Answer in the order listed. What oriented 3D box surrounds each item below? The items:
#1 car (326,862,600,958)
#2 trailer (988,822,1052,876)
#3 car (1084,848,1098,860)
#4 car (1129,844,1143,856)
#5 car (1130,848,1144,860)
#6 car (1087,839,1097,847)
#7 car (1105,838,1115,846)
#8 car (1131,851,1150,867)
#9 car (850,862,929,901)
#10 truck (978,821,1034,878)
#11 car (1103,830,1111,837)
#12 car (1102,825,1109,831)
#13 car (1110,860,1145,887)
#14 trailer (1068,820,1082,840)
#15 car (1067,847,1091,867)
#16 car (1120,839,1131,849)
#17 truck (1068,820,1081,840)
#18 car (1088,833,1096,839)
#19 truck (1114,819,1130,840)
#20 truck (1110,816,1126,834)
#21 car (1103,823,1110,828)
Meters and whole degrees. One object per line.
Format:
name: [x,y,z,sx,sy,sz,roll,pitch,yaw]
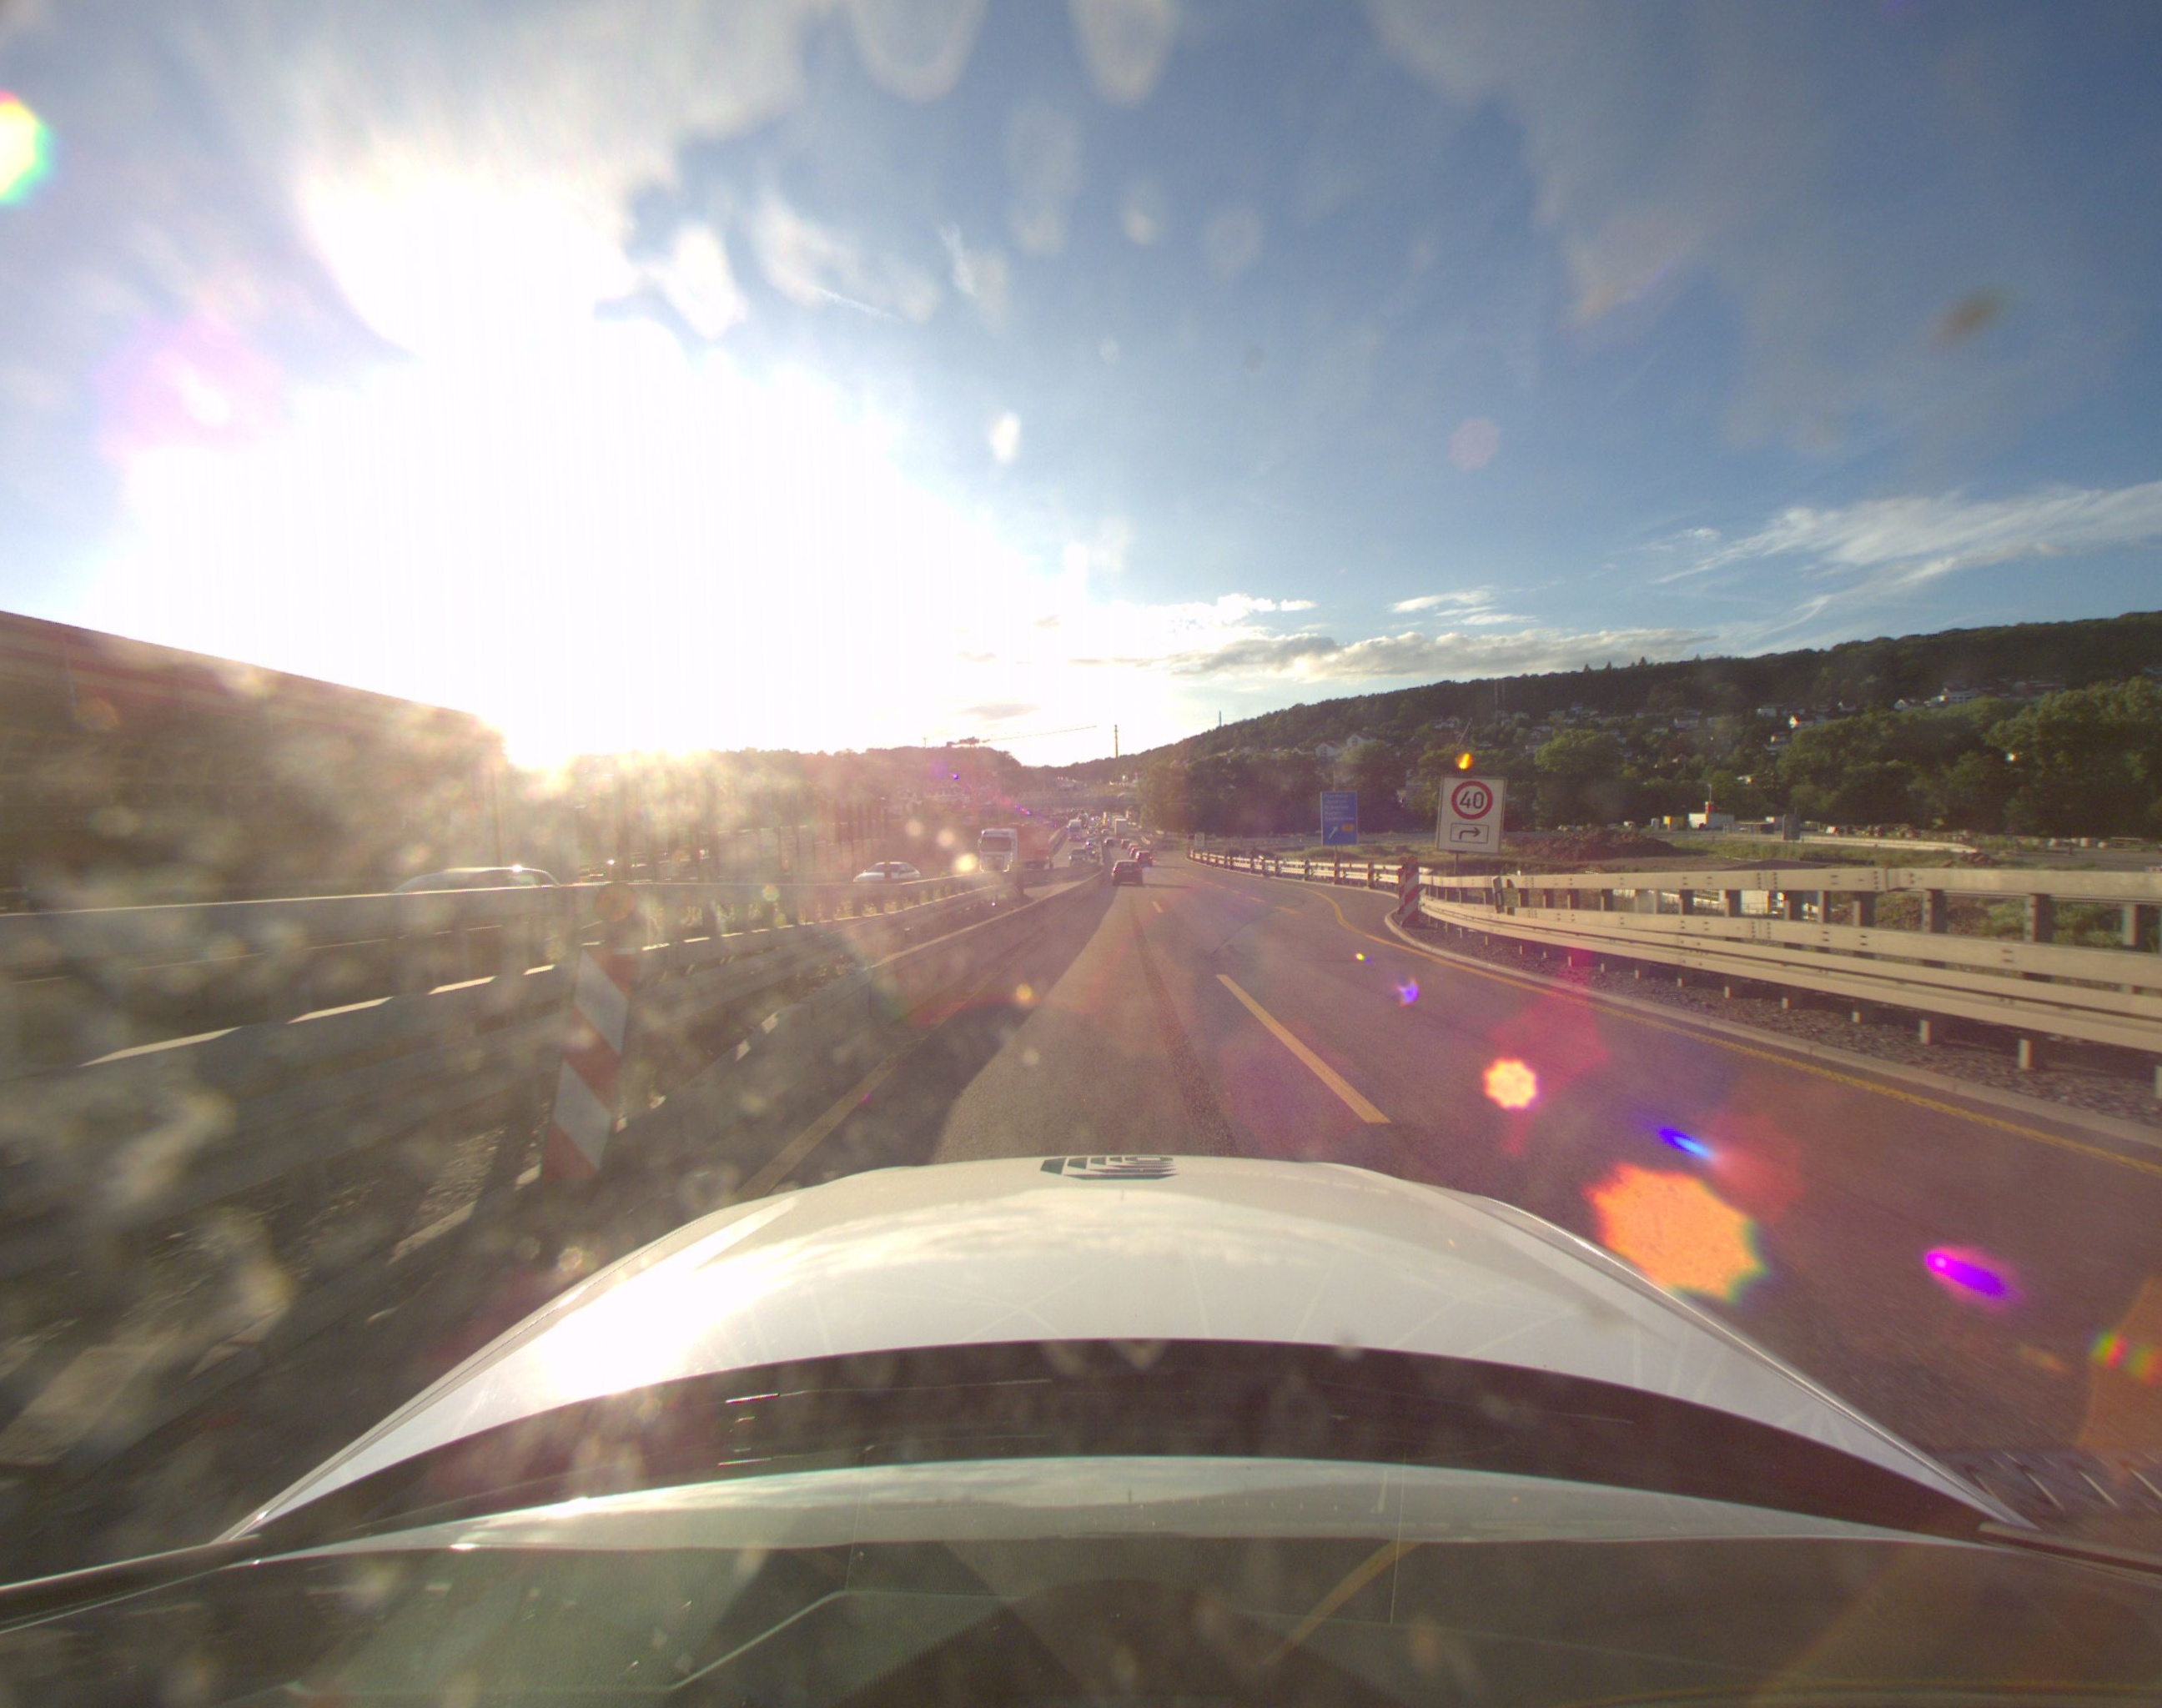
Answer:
car: [-10.851,0.891,14.731,1.654,1.391,4.003,4,0,3]
trailer: [-5.251,-0.400,74.173,2.569,4.471,14.171,0,0,9]
car: [1.405,-0.049,114.029,1.781,1.619,4.877,0,1,2]
car: [8.495,-0.656,125.823,1.869,1.599,4.966,-1,3,0]
car: [7.499,-0.044,110.063,1.767,1.586,4.137,0,0,2]
car: [2.044,-2.079,151.616,1.781,1.488,4.222,0,1,2]
car: [5.469,-2.209,153.677,1.856,1.420,4.002,0,2,2]
car: [6.351,0.523,87.199,1.806,1.615,4.525,0,0,0]
car: [-8.582,1.198,36.884,1.719,1.600,4.675,0,0,11]
truck: [-6.176,-0.386,68.452,2.568,4.471,8.353,0,0,9]
car: [6.148,-5.011,195.708,1.916,1.551,4.003,0,3,2]
car: [6.639,-7.170,222.237,1.916,1.552,4.002,0,1,2]
car: [2.613,1.075,46.718,1.764,1.390,3.999,0,0,-1]
trailer: [-1.263,-5.223,181.199,2.522,4.213,13.938,0,1,1]
car: [-0.157,0.306,88.418,1.983,2.013,5.267,0,0,7]
car: [7.877,-1.724,144.391,1.808,1.632,4.412,0,3,0]
truck: [-1.361,-5.046,175.078,2.544,4.220,6.052,0,1,1]
car: [2.639,-4.395,196.525,1.830,1.409,4.497,-1,2,1]
truck: [9.466,-5.774,187.962,3.373,4.496,15.277,0,3,2]
truck: [9.997,-7.818,218.833,3.877,4.496,15.276,0,4,1]
car: [7.571,-8.515,241.166,1.916,1.552,4.002,0,1,2]
